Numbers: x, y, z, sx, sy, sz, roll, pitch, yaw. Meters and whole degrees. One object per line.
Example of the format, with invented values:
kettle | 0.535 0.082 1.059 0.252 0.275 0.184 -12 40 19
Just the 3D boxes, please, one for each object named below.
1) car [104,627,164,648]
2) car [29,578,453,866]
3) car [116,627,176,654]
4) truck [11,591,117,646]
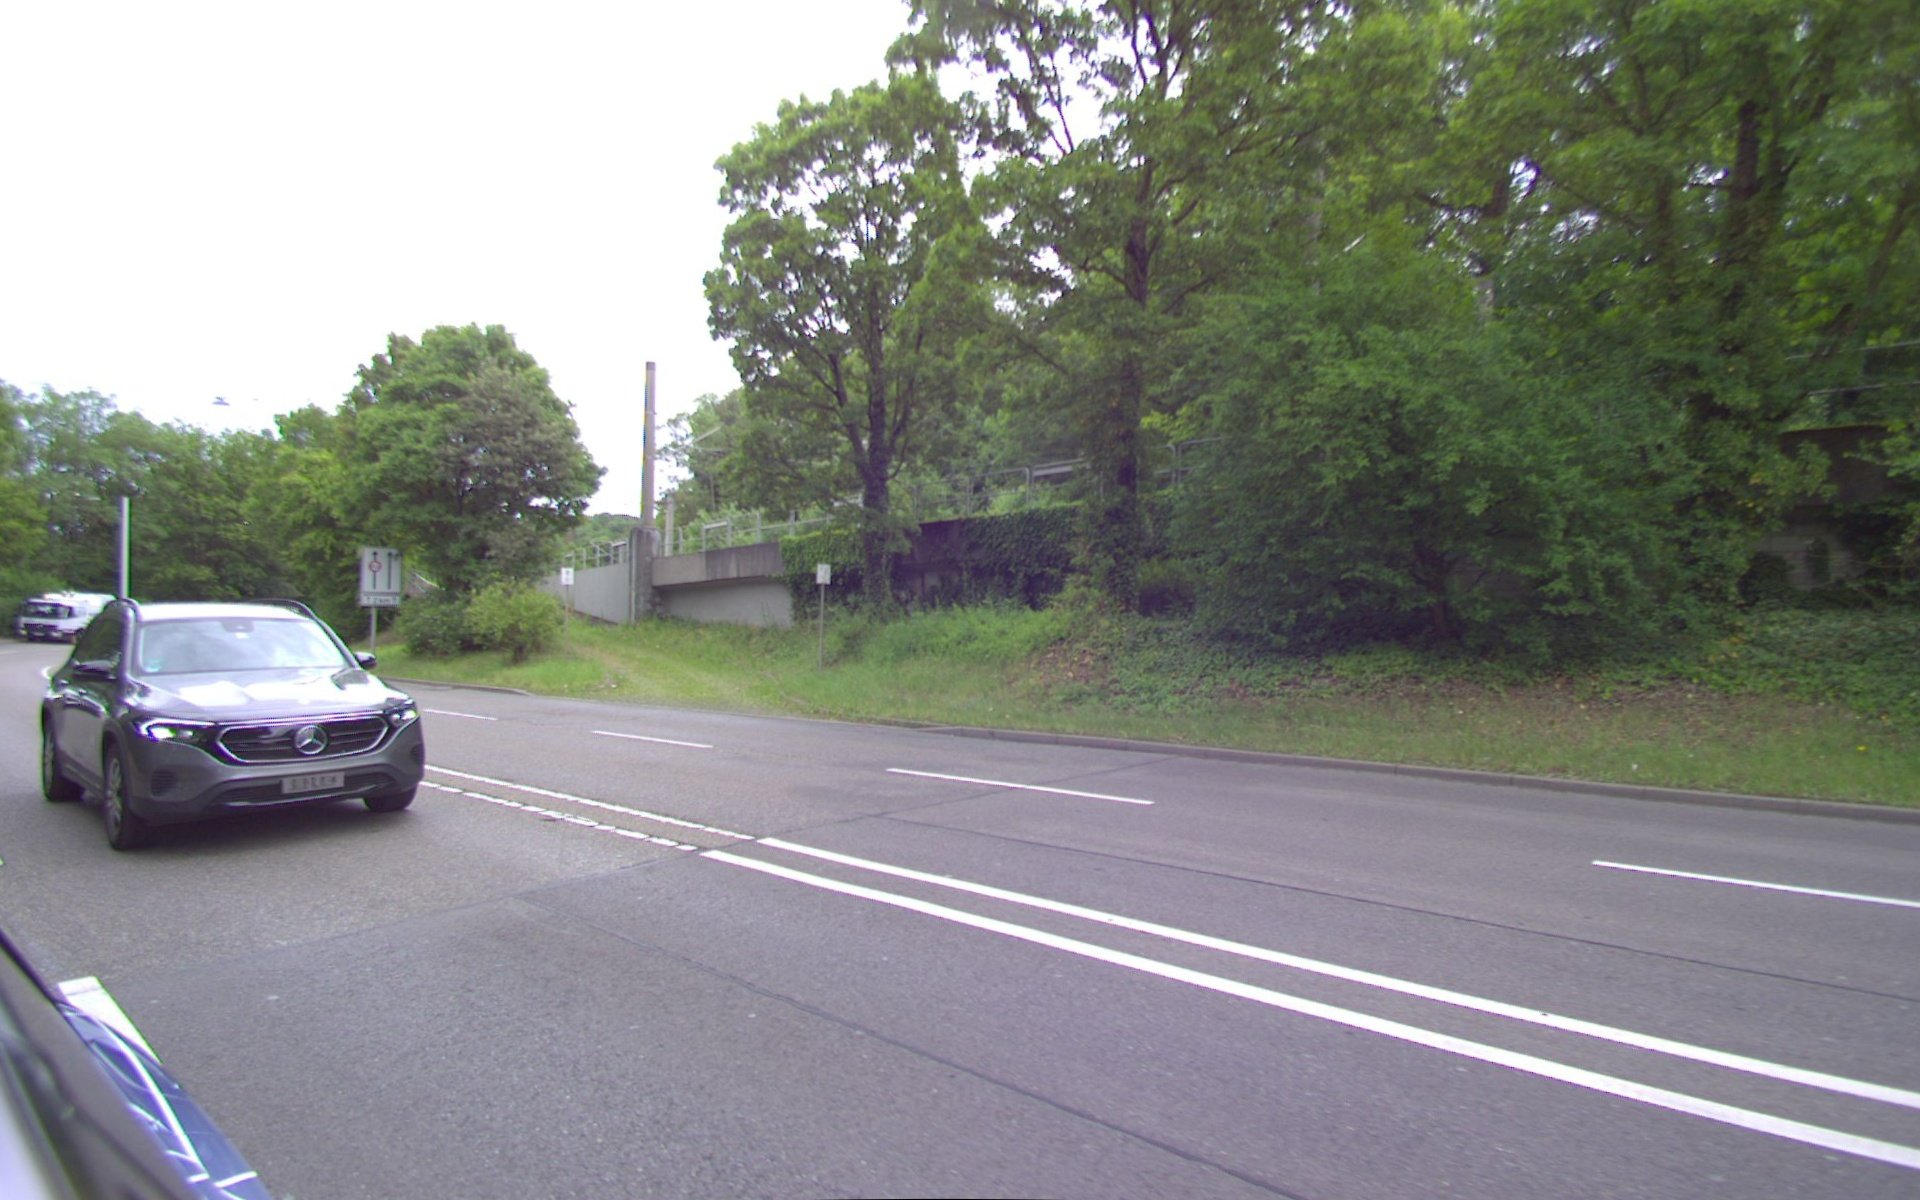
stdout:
car | -58.489 2.674 71.729 1.727 1.372 4.021 4 -4 -14
car | -5.846 0.752 8.007 4.356 1.664 1.830 -2 -1 42
car | -47.431 2.373 59.045 1.636 1.401 4.196 4 -4 -24
truck | -55.522 1.233 62.923 2.164 3.180 6.670 2 -3 -16
